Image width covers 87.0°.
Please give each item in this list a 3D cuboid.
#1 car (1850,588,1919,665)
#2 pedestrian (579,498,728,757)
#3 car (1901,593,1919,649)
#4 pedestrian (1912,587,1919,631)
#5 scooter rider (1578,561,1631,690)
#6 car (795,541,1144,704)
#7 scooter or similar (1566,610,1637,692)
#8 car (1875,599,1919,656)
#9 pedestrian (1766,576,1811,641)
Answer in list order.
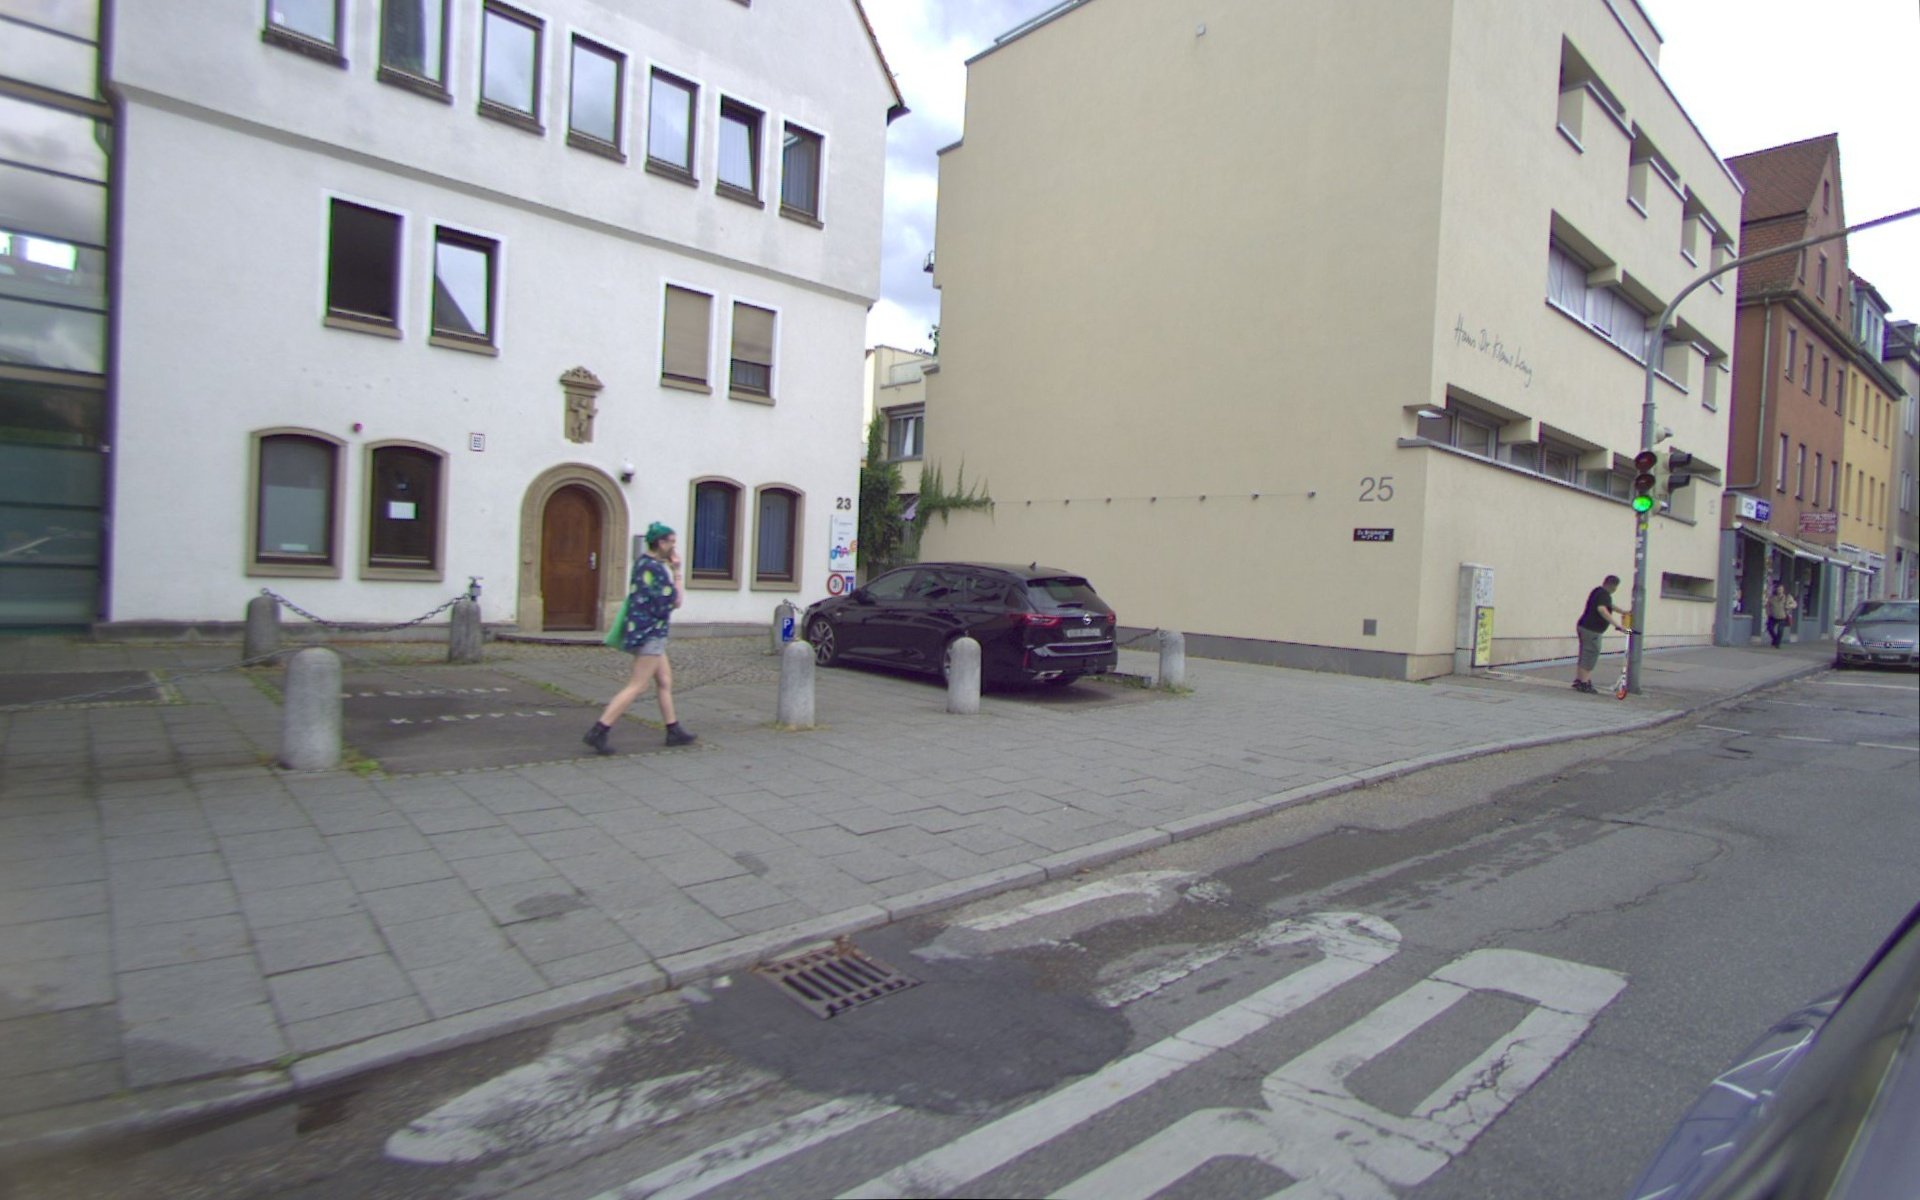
[{"bbox_3d":[21.192,0.562,22.470,3.721,1.579,1.714,0,2,-42],"label":"car"},{"bbox_3d":[-2.202,0.175,7.254,0.843,1.737,0.604,1,2,-34],"label":"pedestrian"},{"bbox_3d":[28.729,0.607,29.535,4.139,1.537,1.603,0,2,-44],"label":"car"},{"bbox_3d":[37.330,0.368,39.078,0.965,1.672,0.616,1,4,-42],"label":"pedestrian"},{"bbox_3d":[8.615,0.322,13.534,0.451,1.650,0.499,6,5,34],"label":"scooter rider"},{"bbox_3d":[-0.078,0.123,12.703,1.820,1.593,4.520,-1,4,-41],"label":"car"},{"bbox_3d":[8.594,0.661,13.546,0.660,0.956,0.809,6,6,38],"label":"scooter or similar"},{"bbox_3d":[24.581,0.685,25.749,3.747,1.349,1.553,0,2,-42],"label":"car"},{"bbox_3d":[21.985,0.223,26.853,0.873,1.669,0.702,1,3,-42],"label":"pedestrian"}]
